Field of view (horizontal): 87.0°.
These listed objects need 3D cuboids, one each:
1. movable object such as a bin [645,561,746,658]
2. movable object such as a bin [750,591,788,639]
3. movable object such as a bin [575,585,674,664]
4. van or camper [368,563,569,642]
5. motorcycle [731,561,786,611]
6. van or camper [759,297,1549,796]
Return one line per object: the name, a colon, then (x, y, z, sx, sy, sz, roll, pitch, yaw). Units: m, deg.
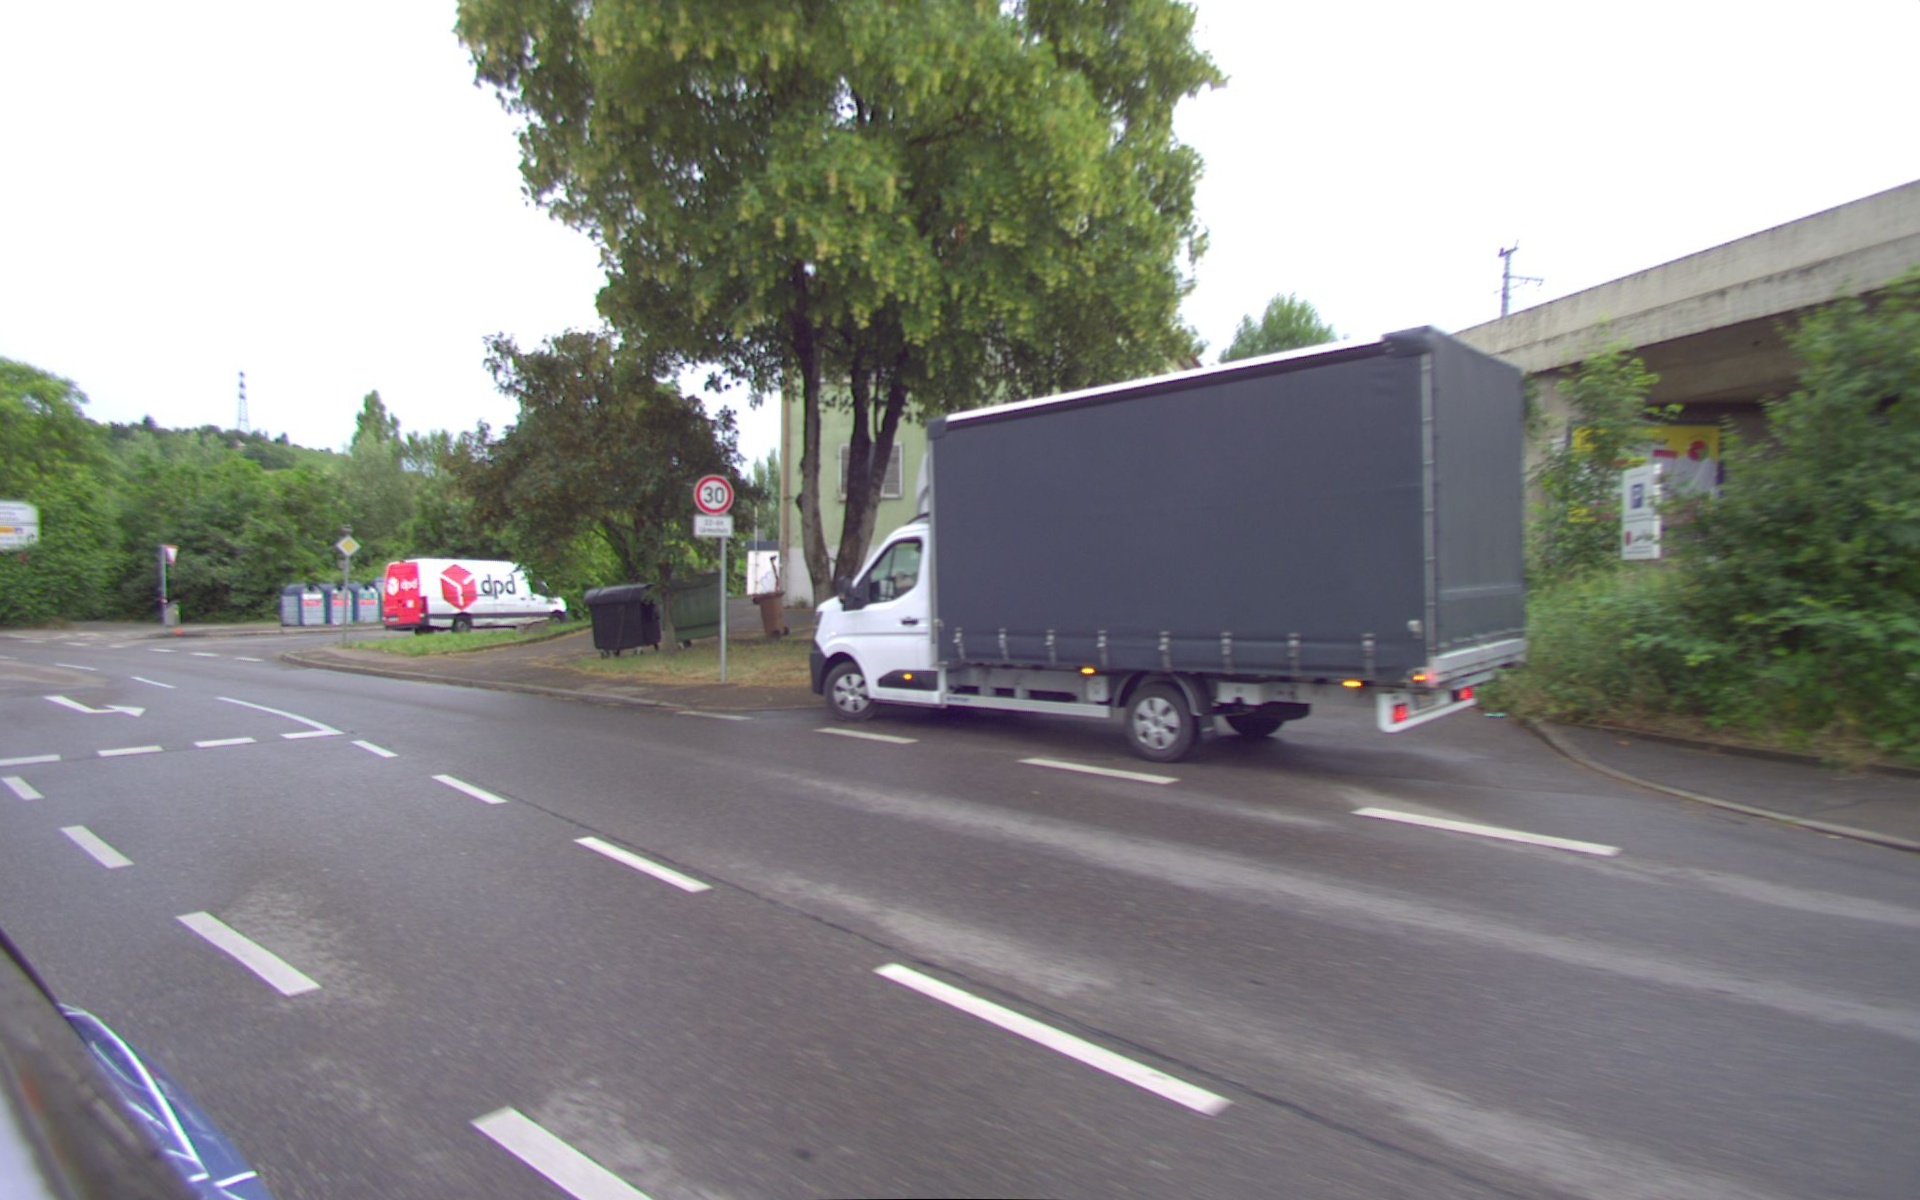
movable object such as a bin: (-5.295, 0.169, 20.407, 1.435, 1.774, 1.576, -4, 0, 4)
movable object such as a bin: (-3.810, 0.297, 20.222, 0.555, 0.917, 0.541, -4, 0, 4)
movable object such as a bin: (-6.752, 0.471, 20.486, 1.359, 1.451, 1.471, -4, 1, 4)
van or camper: (-17.215, 0.030, 35.972, 2.208, 2.541, 6.648, -1, 1, 22)
motorcycle: (-5.376, -0.385, 27.063, 0.431, 1.205, 1.463, 3, 7, 41)
van or camper: (1.359, -0.358, 10.448, 7.761, 3.360, 2.669, -1, 1, 43)
